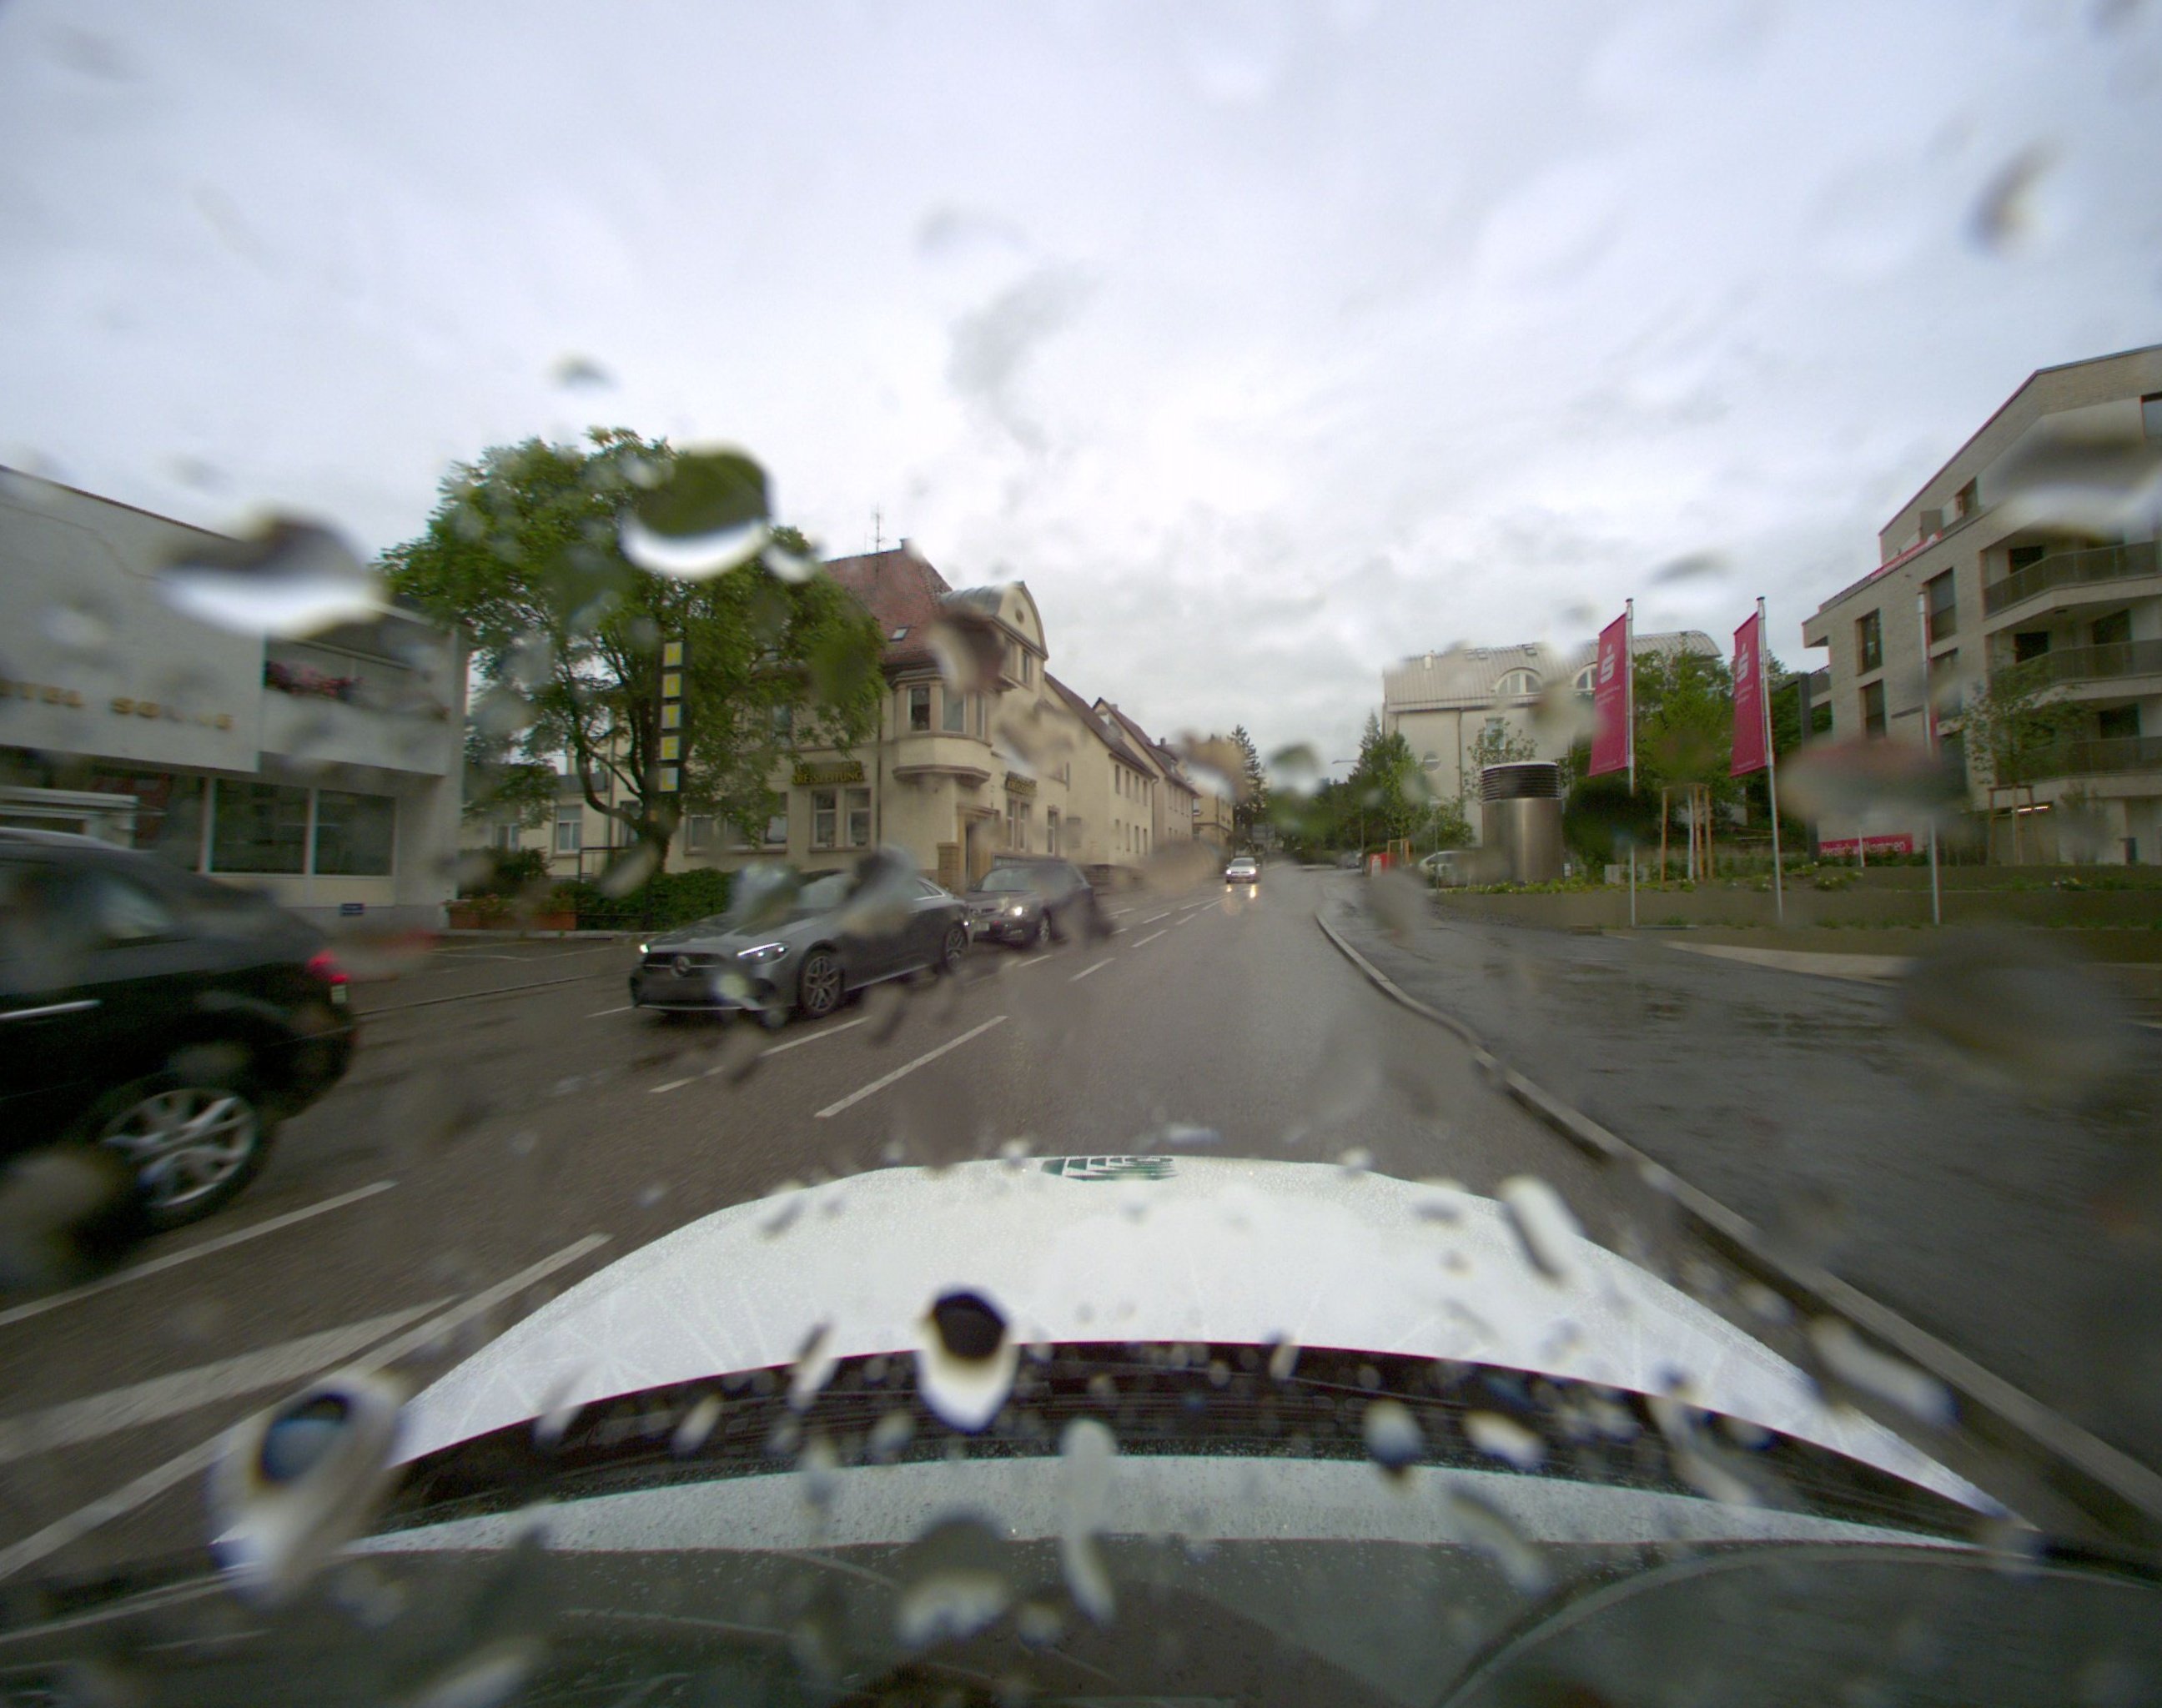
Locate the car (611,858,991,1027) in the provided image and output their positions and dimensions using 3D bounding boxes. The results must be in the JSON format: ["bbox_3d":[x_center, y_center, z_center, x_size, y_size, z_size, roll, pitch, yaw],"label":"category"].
[{"bbox_3d":[-2.823,0.815,9.503,1.759,1.452,4.560,-2,-1,18],"label":"car"}]

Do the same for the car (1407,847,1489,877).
[{"bbox_3d":[16.366,0.335,36.487,3.195,1.288,1.704,1,0,19],"label":"car"}]

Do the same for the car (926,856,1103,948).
[{"bbox_3d":[-1.047,0.799,15.179,1.759,1.452,4.205,-2,-1,18],"label":"car"}]

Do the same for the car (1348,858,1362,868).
[{"bbox_3d":[36.757,1.191,109.208,1.676,1.288,3.248,1,0,19],"label":"car"}]

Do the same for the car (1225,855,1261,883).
[{"bbox_3d":[9.597,0.867,47.993,1.615,1.598,3.248,1,0,19],"label":"car"}]

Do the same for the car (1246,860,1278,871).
[{"bbox_3d":[22.191,1.387,99.794,3.661,1.288,1.703,1,0,15],"label":"car"}]

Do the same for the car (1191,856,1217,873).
[{"bbox_3d":[10.977,0.956,72.676,1.676,1.453,3.248,1,0,19],"label":"car"}]

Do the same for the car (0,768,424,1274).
[{"bbox_3d":[-4.966,0.626,2.467,1.759,1.815,4.335,-2,-1,18],"label":"car"}]

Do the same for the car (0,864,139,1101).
[{"bbox_3d":[-8.258,0.860,4.104,1.759,1.518,4.205,-2,-1,18],"label":"car"}]
